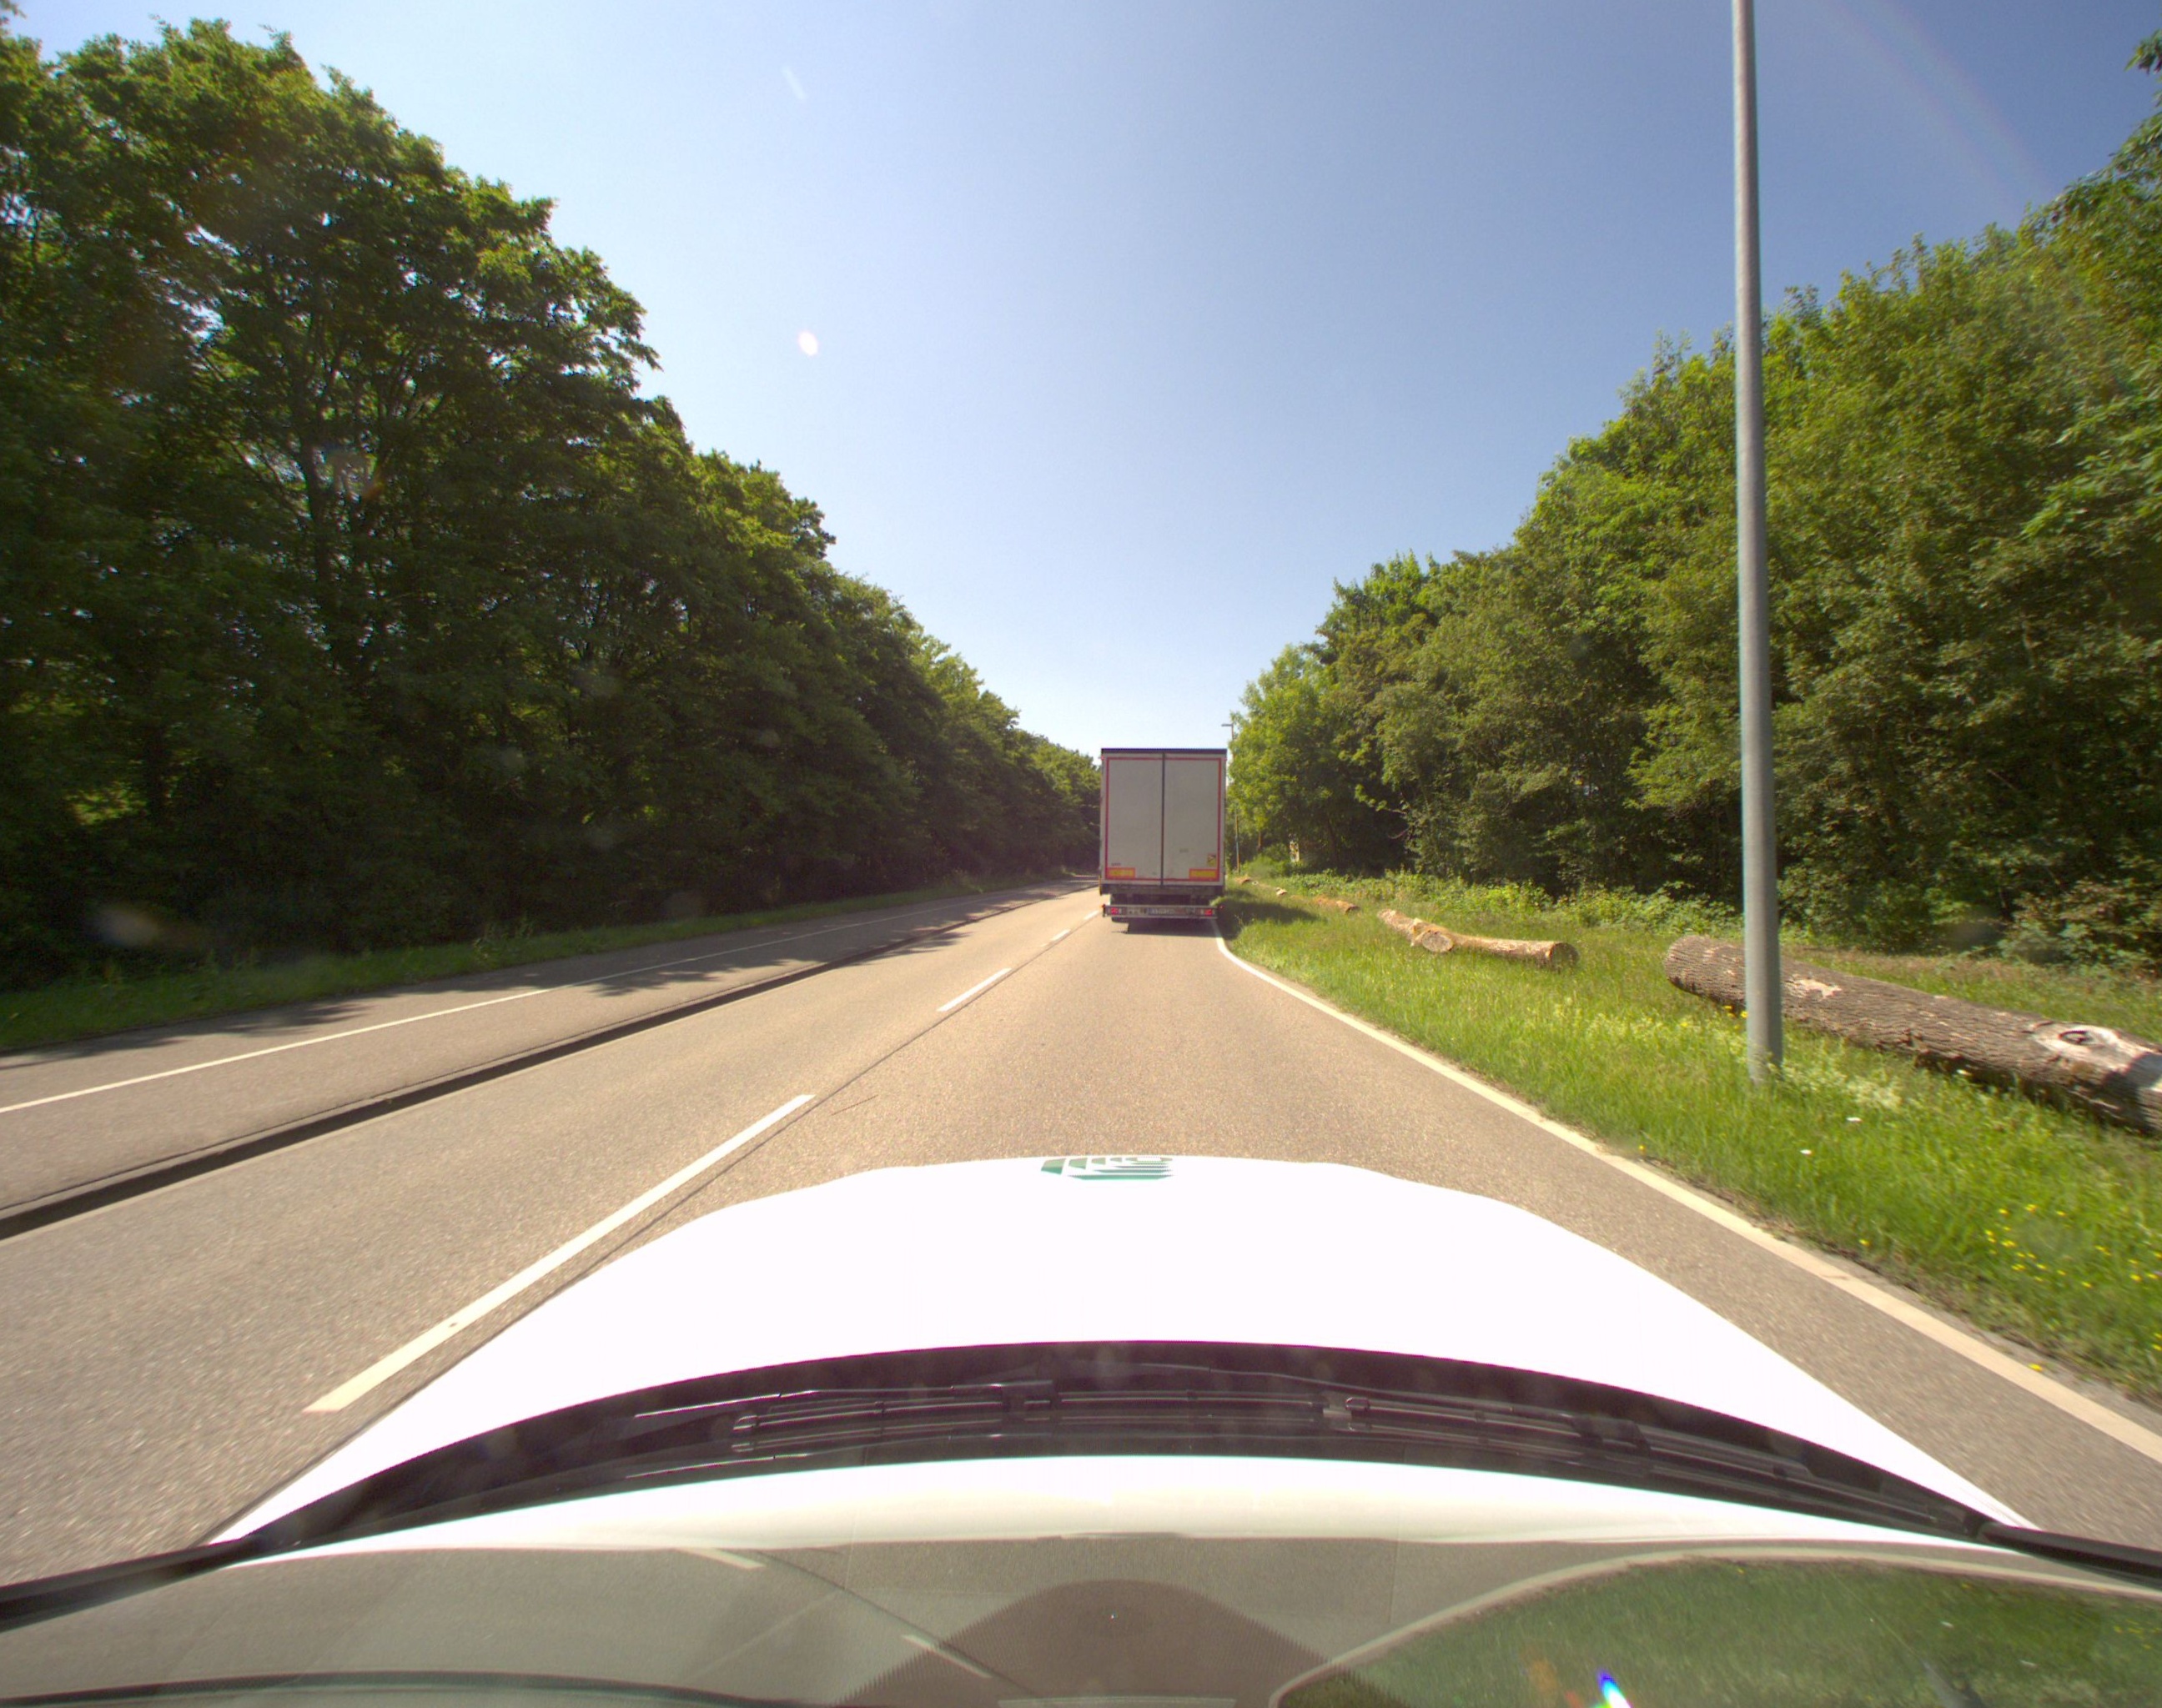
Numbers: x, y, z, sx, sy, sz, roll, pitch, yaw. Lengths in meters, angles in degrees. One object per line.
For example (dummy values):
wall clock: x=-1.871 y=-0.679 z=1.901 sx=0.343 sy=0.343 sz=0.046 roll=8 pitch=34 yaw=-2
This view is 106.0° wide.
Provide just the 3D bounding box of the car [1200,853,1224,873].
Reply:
car: x=10.416 y=0.729 z=65.072 sx=1.702 sy=1.530 sz=3.857 roll=-2 pitch=0 yaw=6

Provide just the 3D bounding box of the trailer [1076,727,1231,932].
trailer: x=1.852 y=-0.462 z=21.140 sx=3.063 sy=4.070 sz=9.821 roll=0 pitch=0 yaw=5

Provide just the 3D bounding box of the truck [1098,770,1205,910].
truck: x=2.477 y=-0.425 z=28.087 sx=3.062 sy=4.069 sz=7.971 roll=-1 pitch=0 yaw=5
